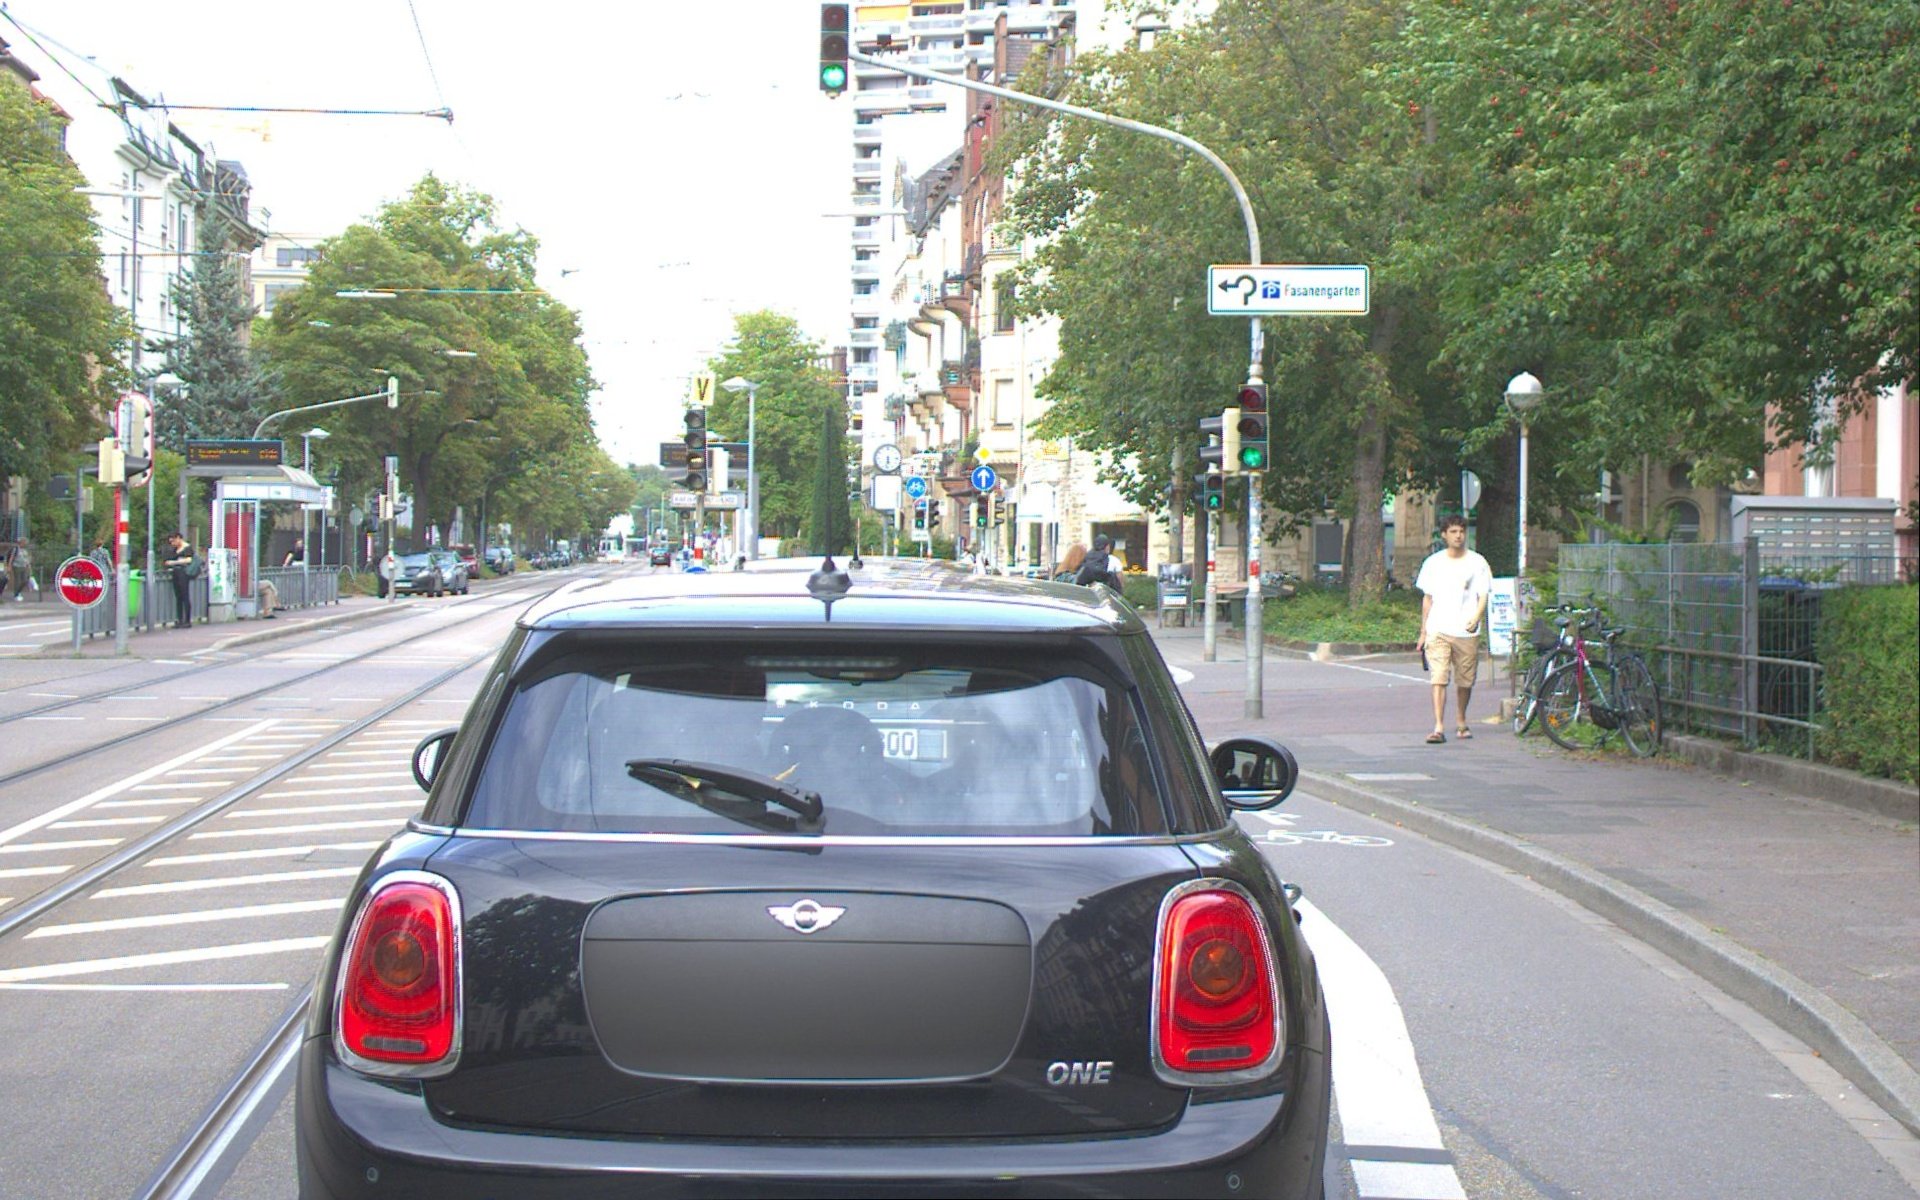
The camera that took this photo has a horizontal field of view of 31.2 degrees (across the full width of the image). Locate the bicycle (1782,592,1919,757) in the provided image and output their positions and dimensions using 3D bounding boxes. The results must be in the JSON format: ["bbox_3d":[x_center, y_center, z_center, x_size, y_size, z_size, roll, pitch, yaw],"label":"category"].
[{"bbox_3d":[5.949,0.459,21.371,1.544,1.005,0.510,0,1,-6],"label":"bicycle"}]

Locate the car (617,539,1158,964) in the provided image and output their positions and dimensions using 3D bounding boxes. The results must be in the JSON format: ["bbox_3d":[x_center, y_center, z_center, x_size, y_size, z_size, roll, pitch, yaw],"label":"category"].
[{"bbox_3d":[-0.279,0.518,14.331,1.927,1.504,4.000,1,1,-1],"label":"car"}]

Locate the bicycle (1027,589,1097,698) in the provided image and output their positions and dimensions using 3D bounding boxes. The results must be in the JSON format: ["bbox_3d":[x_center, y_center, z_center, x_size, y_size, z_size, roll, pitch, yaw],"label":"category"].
[{"bbox_3d":[1.137,0.476,38.578,0.598,1.166,1.697,0,1,-4],"label":"bicycle"}]

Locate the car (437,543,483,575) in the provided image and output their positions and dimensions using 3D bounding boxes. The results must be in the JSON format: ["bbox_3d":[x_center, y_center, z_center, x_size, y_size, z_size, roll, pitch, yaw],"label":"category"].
[{"bbox_3d":[-25.296,-2.079,174.065,1.993,1.546,4.001,1,1,-4],"label":"car"}]

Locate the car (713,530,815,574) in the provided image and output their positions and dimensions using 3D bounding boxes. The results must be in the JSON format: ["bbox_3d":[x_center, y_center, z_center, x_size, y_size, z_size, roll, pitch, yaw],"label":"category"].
[{"bbox_3d":[-10.285,-2.518,180.527,5.026,2.265,2.395,0,1,-44],"label":"car"}]

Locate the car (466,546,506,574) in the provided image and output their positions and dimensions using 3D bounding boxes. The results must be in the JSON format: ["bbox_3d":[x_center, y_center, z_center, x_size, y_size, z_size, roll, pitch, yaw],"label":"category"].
[{"bbox_3d":[-27.120,-2.312,196.967,1.993,1.546,4.001,1,1,-4],"label":"car"}]

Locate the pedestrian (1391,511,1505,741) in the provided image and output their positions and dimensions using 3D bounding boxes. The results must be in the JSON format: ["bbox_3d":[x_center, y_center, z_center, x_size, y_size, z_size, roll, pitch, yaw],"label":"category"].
[{"bbox_3d":[3.788,0.188,26.725,0.730,1.748,0.950,1,1,0],"label":"pedestrian"}]

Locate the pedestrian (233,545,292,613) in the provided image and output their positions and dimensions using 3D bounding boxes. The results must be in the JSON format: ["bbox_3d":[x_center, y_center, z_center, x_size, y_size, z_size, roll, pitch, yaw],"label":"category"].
[{"bbox_3d":[-13.280,-0.402,65.443,1.058,1.289,0.986,1,1,-9],"label":"pedestrian"}]

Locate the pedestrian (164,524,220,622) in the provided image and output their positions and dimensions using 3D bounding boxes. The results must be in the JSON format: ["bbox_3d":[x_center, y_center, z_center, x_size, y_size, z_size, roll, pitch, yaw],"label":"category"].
[{"bbox_3d":[-12.833,-0.449,57.477,0.851,1.615,0.843,1,1,-9],"label":"pedestrian"}]

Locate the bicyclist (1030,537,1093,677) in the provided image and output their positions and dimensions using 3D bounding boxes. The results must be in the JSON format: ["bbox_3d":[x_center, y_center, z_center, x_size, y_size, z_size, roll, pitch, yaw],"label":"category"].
[{"bbox_3d":[1.134,0.070,38.569,0.594,1.545,1.014,0,1,-4],"label":"bicyclist"}]

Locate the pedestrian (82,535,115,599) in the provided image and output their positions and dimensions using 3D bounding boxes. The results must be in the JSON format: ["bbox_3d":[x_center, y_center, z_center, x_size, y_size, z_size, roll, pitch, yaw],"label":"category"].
[{"bbox_3d":[-23.022,-0.886,91.855,0.694,1.713,0.758,1,1,-2],"label":"pedestrian"}]

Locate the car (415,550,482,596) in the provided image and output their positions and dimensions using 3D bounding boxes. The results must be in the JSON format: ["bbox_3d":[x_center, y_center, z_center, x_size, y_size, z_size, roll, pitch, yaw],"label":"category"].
[{"bbox_3d":[-17.035,-0.925,114.631,1.751,1.436,4.001,2,1,-3],"label":"car"}]

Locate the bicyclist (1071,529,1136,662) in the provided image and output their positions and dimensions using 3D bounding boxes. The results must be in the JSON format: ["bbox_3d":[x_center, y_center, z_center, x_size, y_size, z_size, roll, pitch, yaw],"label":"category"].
[{"bbox_3d":[1.704,-0.065,40.914,0.684,1.558,0.998,0,1,-2],"label":"bicyclist"}]

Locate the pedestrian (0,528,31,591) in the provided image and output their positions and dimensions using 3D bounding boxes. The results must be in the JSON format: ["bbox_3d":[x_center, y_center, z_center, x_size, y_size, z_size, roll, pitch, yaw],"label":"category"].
[{"bbox_3d":[-25.421,-1.089,92.344,0.832,1.697,0.733,1,1,-9],"label":"pedestrian"}]

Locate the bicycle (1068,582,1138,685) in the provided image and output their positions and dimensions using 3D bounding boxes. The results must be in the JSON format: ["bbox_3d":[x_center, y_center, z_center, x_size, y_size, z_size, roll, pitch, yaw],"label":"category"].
[{"bbox_3d":[1.696,0.388,40.982,0.684,1.166,1.697,0,1,-2],"label":"bicycle"}]

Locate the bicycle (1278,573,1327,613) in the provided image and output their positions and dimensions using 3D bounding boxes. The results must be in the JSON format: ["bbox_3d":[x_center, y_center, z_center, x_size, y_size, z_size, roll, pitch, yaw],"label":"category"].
[{"bbox_3d":[8.994,-0.188,90.295,0.449,1.051,1.645,1,1,38],"label":"bicycle"}]

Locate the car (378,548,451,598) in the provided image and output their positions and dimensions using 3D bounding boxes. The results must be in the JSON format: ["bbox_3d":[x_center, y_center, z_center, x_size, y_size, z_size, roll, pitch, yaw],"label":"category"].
[{"bbox_3d":[-16.927,-0.857,106.731,1.751,1.436,4.001,2,1,-3],"label":"car"}]

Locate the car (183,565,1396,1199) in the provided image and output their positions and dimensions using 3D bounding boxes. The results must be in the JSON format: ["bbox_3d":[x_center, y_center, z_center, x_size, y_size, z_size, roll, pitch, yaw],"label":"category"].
[{"bbox_3d":[-0.280,0.666,7.000,1.751,1.436,4.000,1,1,-1],"label":"car"}]

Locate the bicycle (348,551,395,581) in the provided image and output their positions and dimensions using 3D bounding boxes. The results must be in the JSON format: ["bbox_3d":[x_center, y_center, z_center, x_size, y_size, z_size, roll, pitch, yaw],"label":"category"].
[{"bbox_3d":[-21.905,-1.268,127.968,1.667,1.115,0.572,0,1,-43],"label":"bicycle"}]

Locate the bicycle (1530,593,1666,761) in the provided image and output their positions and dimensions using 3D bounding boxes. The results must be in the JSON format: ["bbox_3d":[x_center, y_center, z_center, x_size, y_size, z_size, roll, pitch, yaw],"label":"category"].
[{"bbox_3d":[4.433,0.516,23.956,0.508,1.085,1.550,-3,1,-4],"label":"bicycle"}]

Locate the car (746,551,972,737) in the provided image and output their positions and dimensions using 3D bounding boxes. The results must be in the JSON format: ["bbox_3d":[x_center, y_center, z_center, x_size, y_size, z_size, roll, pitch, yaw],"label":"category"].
[{"bbox_3d":[-0.926,0.314,29.129,1.751,1.436,4.480,1,1,-4],"label":"car"}]

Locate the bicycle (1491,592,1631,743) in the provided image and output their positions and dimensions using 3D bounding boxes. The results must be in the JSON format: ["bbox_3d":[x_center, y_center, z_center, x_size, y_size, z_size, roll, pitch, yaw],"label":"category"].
[{"bbox_3d":[4.650,0.506,26.700,0.671,1.102,1.672,0,1,-4],"label":"bicycle"}]

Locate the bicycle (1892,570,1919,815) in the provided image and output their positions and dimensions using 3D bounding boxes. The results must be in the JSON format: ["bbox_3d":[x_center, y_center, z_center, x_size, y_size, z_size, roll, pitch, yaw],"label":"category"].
[{"bbox_3d":[5.293,0.492,17.671,0.516,1.277,1.550,0,1,-2],"label":"bicycle"}]
